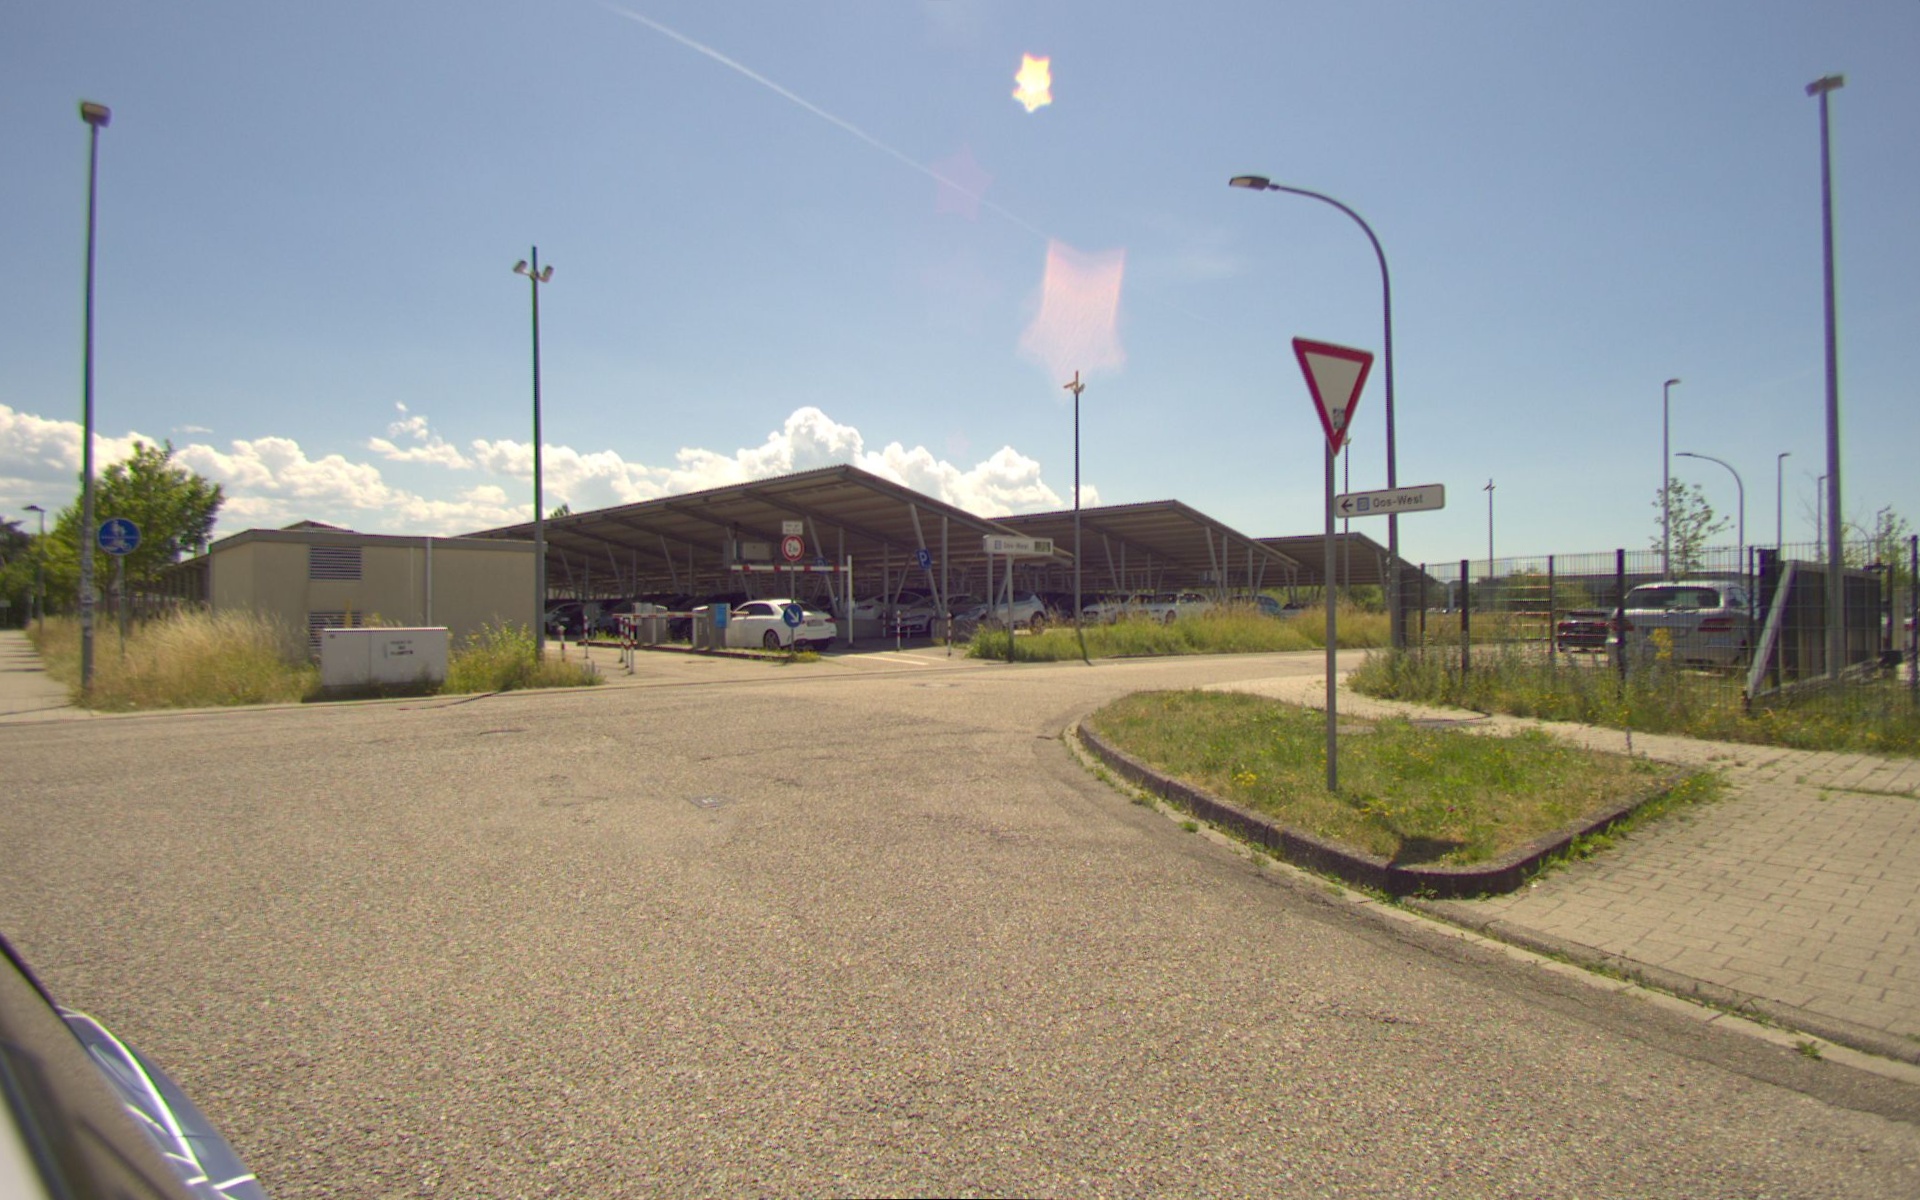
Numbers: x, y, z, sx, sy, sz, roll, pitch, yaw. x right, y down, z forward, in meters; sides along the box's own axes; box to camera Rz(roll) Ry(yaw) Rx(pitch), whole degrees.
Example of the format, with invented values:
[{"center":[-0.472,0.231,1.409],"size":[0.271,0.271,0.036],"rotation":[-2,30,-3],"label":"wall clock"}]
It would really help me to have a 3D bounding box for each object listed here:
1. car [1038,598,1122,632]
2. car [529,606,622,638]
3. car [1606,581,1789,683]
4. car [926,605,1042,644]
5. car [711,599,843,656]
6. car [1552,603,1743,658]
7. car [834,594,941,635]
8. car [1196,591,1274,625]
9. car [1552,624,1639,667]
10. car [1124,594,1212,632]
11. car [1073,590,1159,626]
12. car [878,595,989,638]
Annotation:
[{"center":[5.289,0.666,44.348],"size":[3.720,1.447,1.724],"rotation":[1,-1,-45],"label":"car"},{"center":[-18.141,1.017,47.840],"size":[3.720,1.447,1.724],"rotation":[1,-1,-45],"label":"car"},{"center":[12.102,0.493,16.541],"size":[3.625,1.475,1.725],"rotation":[1,-1,-43],"label":"car"},{"center":[0.831,0.789,33.345],"size":[3.720,1.237,1.724],"rotation":[1,-1,-45],"label":"car"},{"center":[-5.040,0.741,27.570],"size":[1.698,1.447,3.778],"rotation":[1,-1,-45],"label":"car"},{"center":[20.279,0.873,30.021],"size":[1.673,1.526,4.410],"rotation":[0,-1,-41],"label":"car"},{"center":[-2.637,0.541,37.410],"size":[3.720,1.447,1.724],"rotation":[1,-1,-45],"label":"car"},{"center":[12.157,0.380,44.654],"size":[3.720,1.447,1.724],"rotation":[1,-1,-45],"label":"car"},{"center":[22.287,1.553,35.420],"size":[3.940,1.387,1.699],"rotation":[0,-1,-44],"label":"car"},{"center":[8.391,0.516,40.679],"size":[3.720,1.447,1.724],"rotation":[1,-1,-45],"label":"car"},{"center":[6.634,0.343,42.811],"size":[3.720,1.447,1.724],"rotation":[1,-1,-45],"label":"car"},{"center":[-0.906,0.577,35.377],"size":[3.720,1.447,1.724],"rotation":[1,-1,-45],"label":"car"}]
